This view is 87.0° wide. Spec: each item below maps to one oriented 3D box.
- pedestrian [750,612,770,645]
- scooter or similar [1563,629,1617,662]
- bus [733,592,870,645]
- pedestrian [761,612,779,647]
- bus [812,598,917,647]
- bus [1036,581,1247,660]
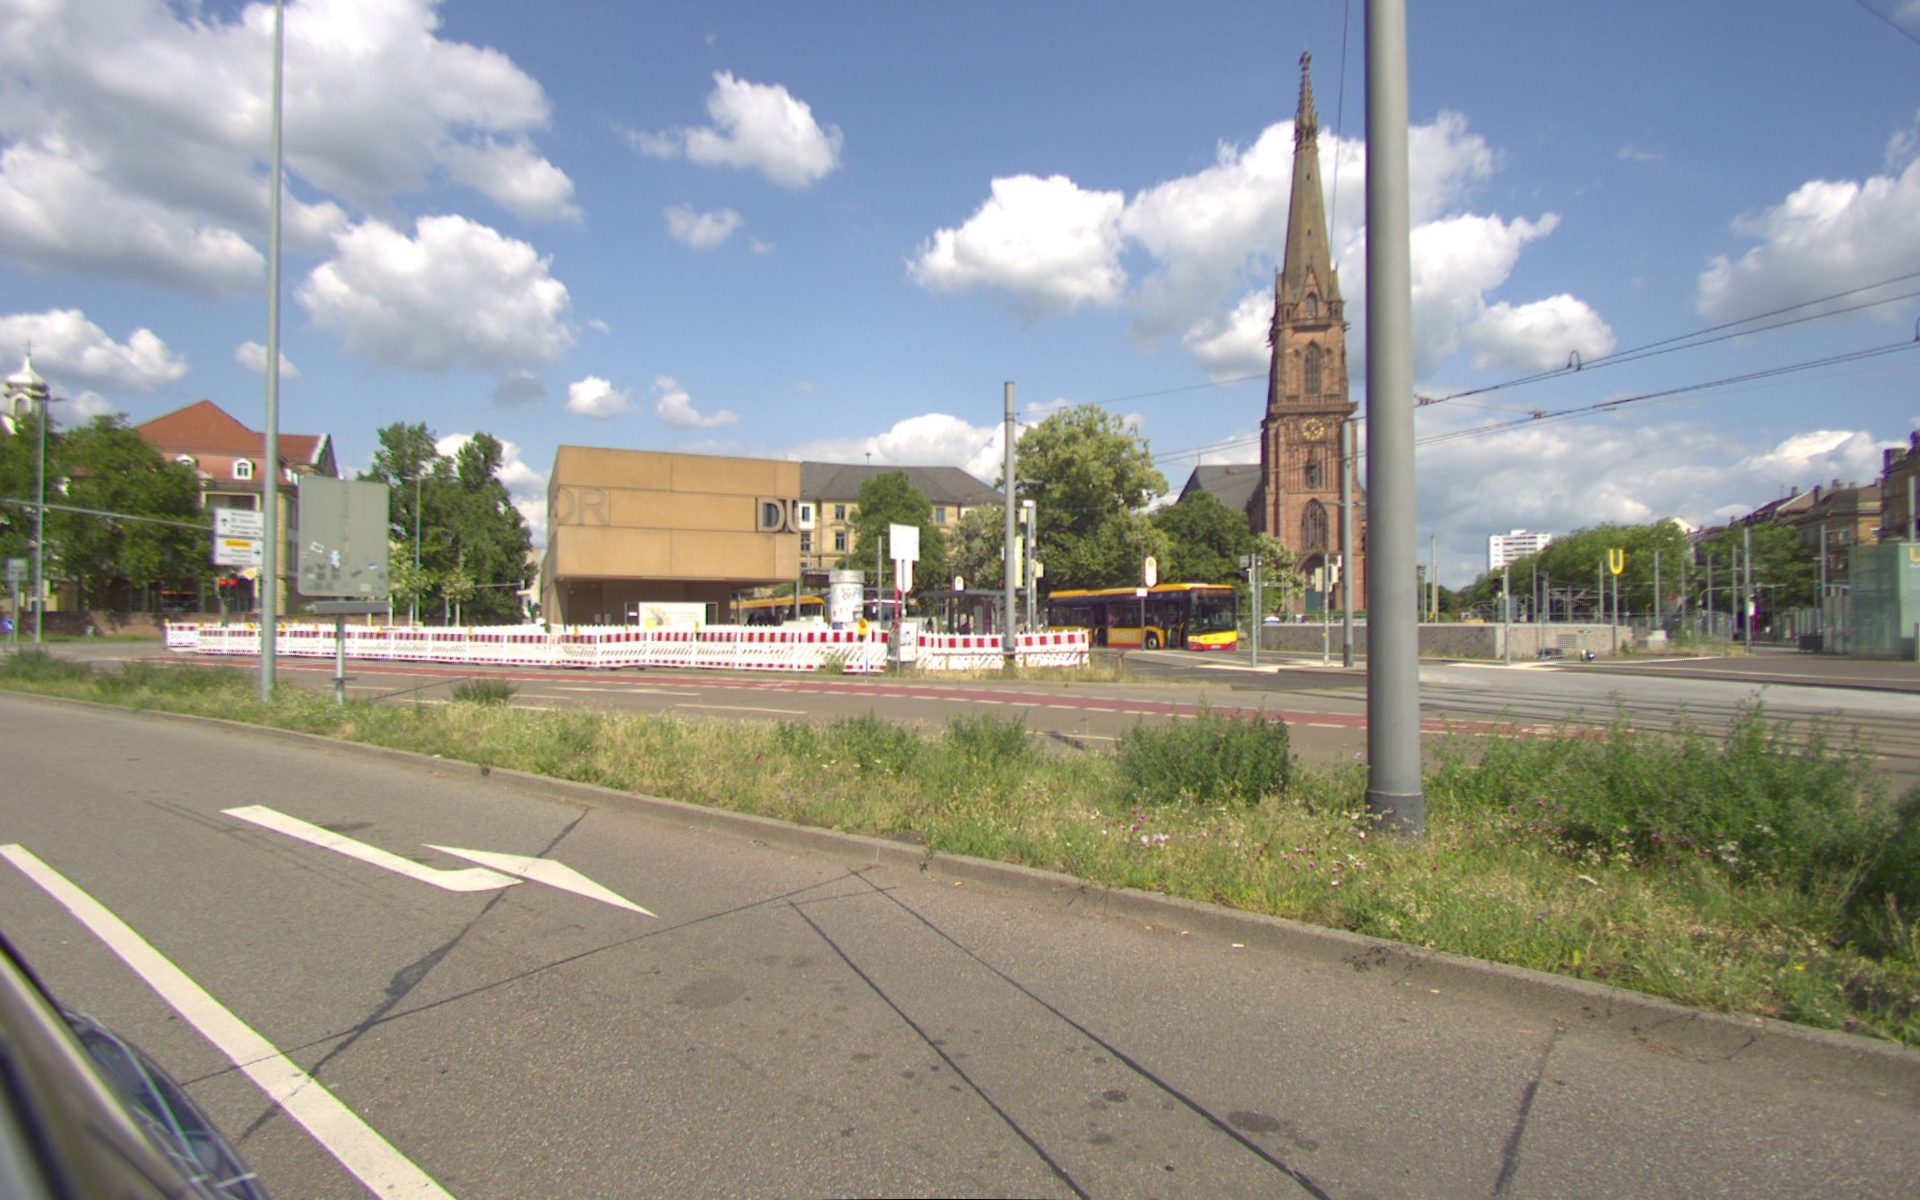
[{"bbox_3d":[-10.145,1.449,51.230,0.761,1.644,0.647,-1,-1,24],"label":"pedestrian"},{"bbox_3d":[23.152,1.649,37.186,1.617,1.114,0.855,-1,0,-21],"label":"scooter or similar"},{"bbox_3d":[-12.110,1.401,72.992,3.416,3.208,23.856,0,-1,-25],"label":"bus"},{"bbox_3d":[-8.997,1.400,47.859,0.720,1.642,0.561,0,-1,-27],"label":"pedestrian"},{"bbox_3d":[-8.461,1.943,85.278,3.546,3.659,18.932,0,-2,-22],"label":"bus"},{"bbox_3d":[7.791,0.981,46.554,2.785,3.160,12.882,0,-2,-24],"label":"bus"}]
